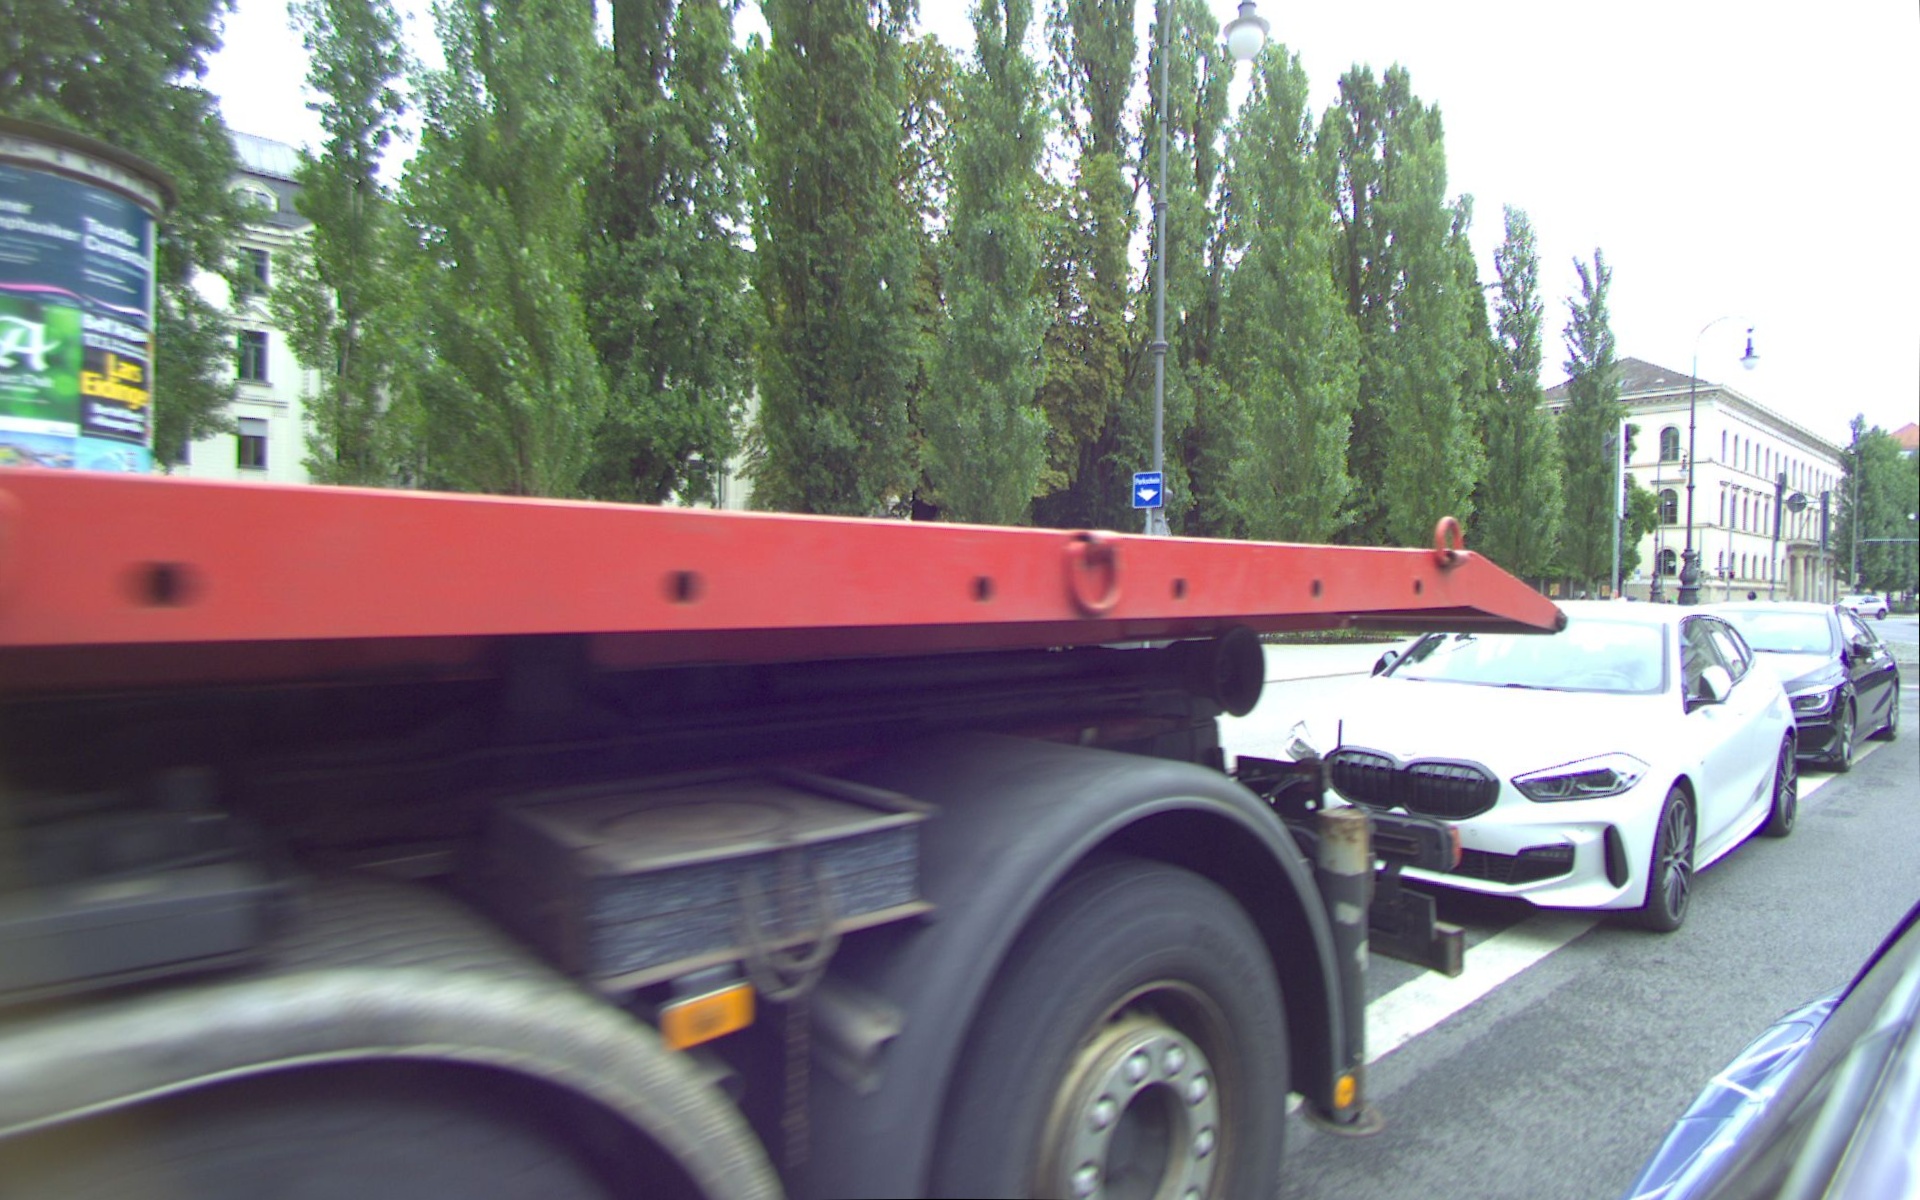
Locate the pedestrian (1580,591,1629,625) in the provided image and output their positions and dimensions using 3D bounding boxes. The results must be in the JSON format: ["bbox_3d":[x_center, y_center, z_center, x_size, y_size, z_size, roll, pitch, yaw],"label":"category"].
[{"bbox_3d":[23.225,0.280,36.496,1.353,1.222,0.802,0,0,22],"label":"pedestrian"}]

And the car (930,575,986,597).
[{"bbox_3d":[-0.207,-1.017,74.870,1.962,1.594,4.469,0,1,-35],"label":"car"}]

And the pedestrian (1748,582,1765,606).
[{"bbox_3d":[70.076,-0.547,89.062,0.985,2.039,0.944,0,1,-39],"label":"pedestrian"}]

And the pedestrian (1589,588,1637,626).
[{"bbox_3d":[22.850,0.224,35.428,1.317,1.290,0.800,0,0,28],"label":"pedestrian"}]

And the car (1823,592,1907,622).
[{"bbox_3d":[59.849,0.448,66.968,4.223,1.880,1.894,0,1,-10],"label":"car"}]

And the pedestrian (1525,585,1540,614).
[{"bbox_3d":[32.014,-0.038,56.583,0.527,1.640,0.590,0,0,-40],"label":"pedestrian"}]

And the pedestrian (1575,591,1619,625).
[{"bbox_3d":[23.394,0.296,37.190,1.251,1.231,0.571,0,0,21],"label":"pedestrian"}]

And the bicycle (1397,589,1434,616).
[{"bbox_3d":[22.101,0.103,49.033,0.672,1.254,2.952,3,2,43],"label":"bicycle"}]

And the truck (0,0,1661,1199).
[{"bbox_3d":[-2.722,-0.197,0.738,10.242,3.148,2.719,0,1,-40],"label":"truck"}]

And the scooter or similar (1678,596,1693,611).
[{"bbox_3d":[59.533,0.287,83.047,1.626,1.155,0.567,0,1,-39],"label":"scooter or similar"}]

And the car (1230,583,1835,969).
[{"bbox_3d":[3.551,0.661,5.923,4.143,1.478,1.791,0,0,-41],"label":"car"}]

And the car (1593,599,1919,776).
[{"bbox_3d":[7.960,0.674,9.889,4.292,1.326,1.739,0,1,-40],"label":"car"}]
